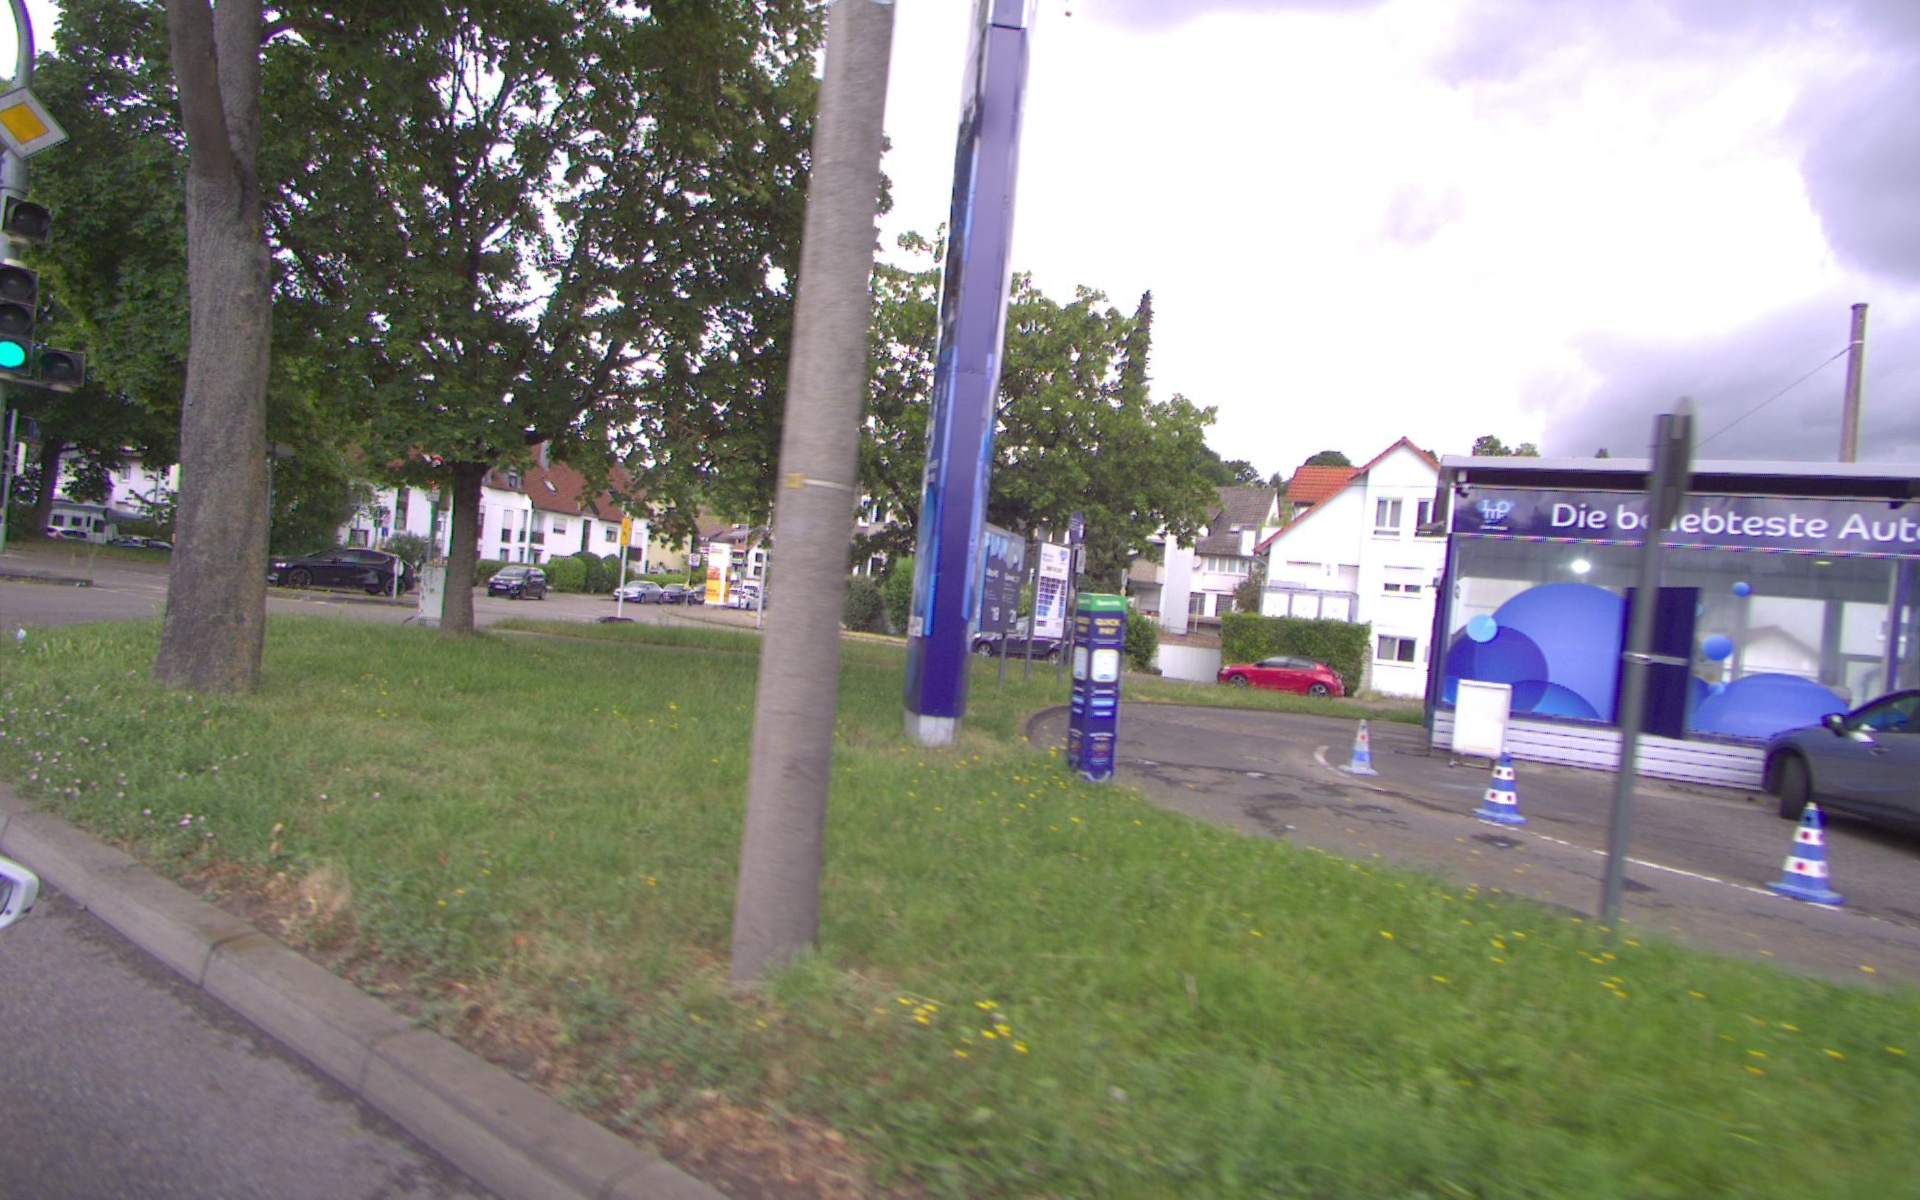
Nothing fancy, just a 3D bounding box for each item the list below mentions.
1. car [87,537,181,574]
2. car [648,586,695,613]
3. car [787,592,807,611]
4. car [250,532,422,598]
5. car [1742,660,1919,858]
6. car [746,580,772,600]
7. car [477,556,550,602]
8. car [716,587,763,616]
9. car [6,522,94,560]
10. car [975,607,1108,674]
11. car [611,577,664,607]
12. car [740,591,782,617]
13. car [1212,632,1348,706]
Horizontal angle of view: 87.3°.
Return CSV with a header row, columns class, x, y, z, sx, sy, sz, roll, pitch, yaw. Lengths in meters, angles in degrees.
class,x,y,z,sx,sy,sz,roll,pitch,yaw
car,-40.188,-2.151,48.954,3.785,1.260,1.629,7,-3,17
car,-20.671,-0.032,72.242,1.963,1.442,4.474,7,-3,0
car,-22.676,0.217,139.832,2.374,2.264,4.462,7,-1,-9
car,-19.380,-1.050,31.395,1.678,1.544,4.153,5,-1,36
car,9.834,1.614,9.678,1.805,1.718,4.214,7,0,12
car,-20.979,-1.003,105.175,1.964,1.774,4.467,7,-1,-3
car,-22.249,-0.985,50.317,1.965,1.785,4.001,7,-3,-5
car,-14.239,0.125,65.198,1.963,1.536,4.001,7,-1,0
car,-45.997,-2.986,50.846,3.768,1.401,1.485,7,-3,18
car,2.965,1.467,36.568,4.331,1.864,1.722,6,-2,27
car,-20.905,-0.515,65.461,1.963,1.442,4.473,7,-3,-1
car,-13.932,0.326,70.666,1.963,1.536,4.001,7,-1,0
car,10.426,2.245,32.794,3.855,1.863,1.621,6,-3,27
